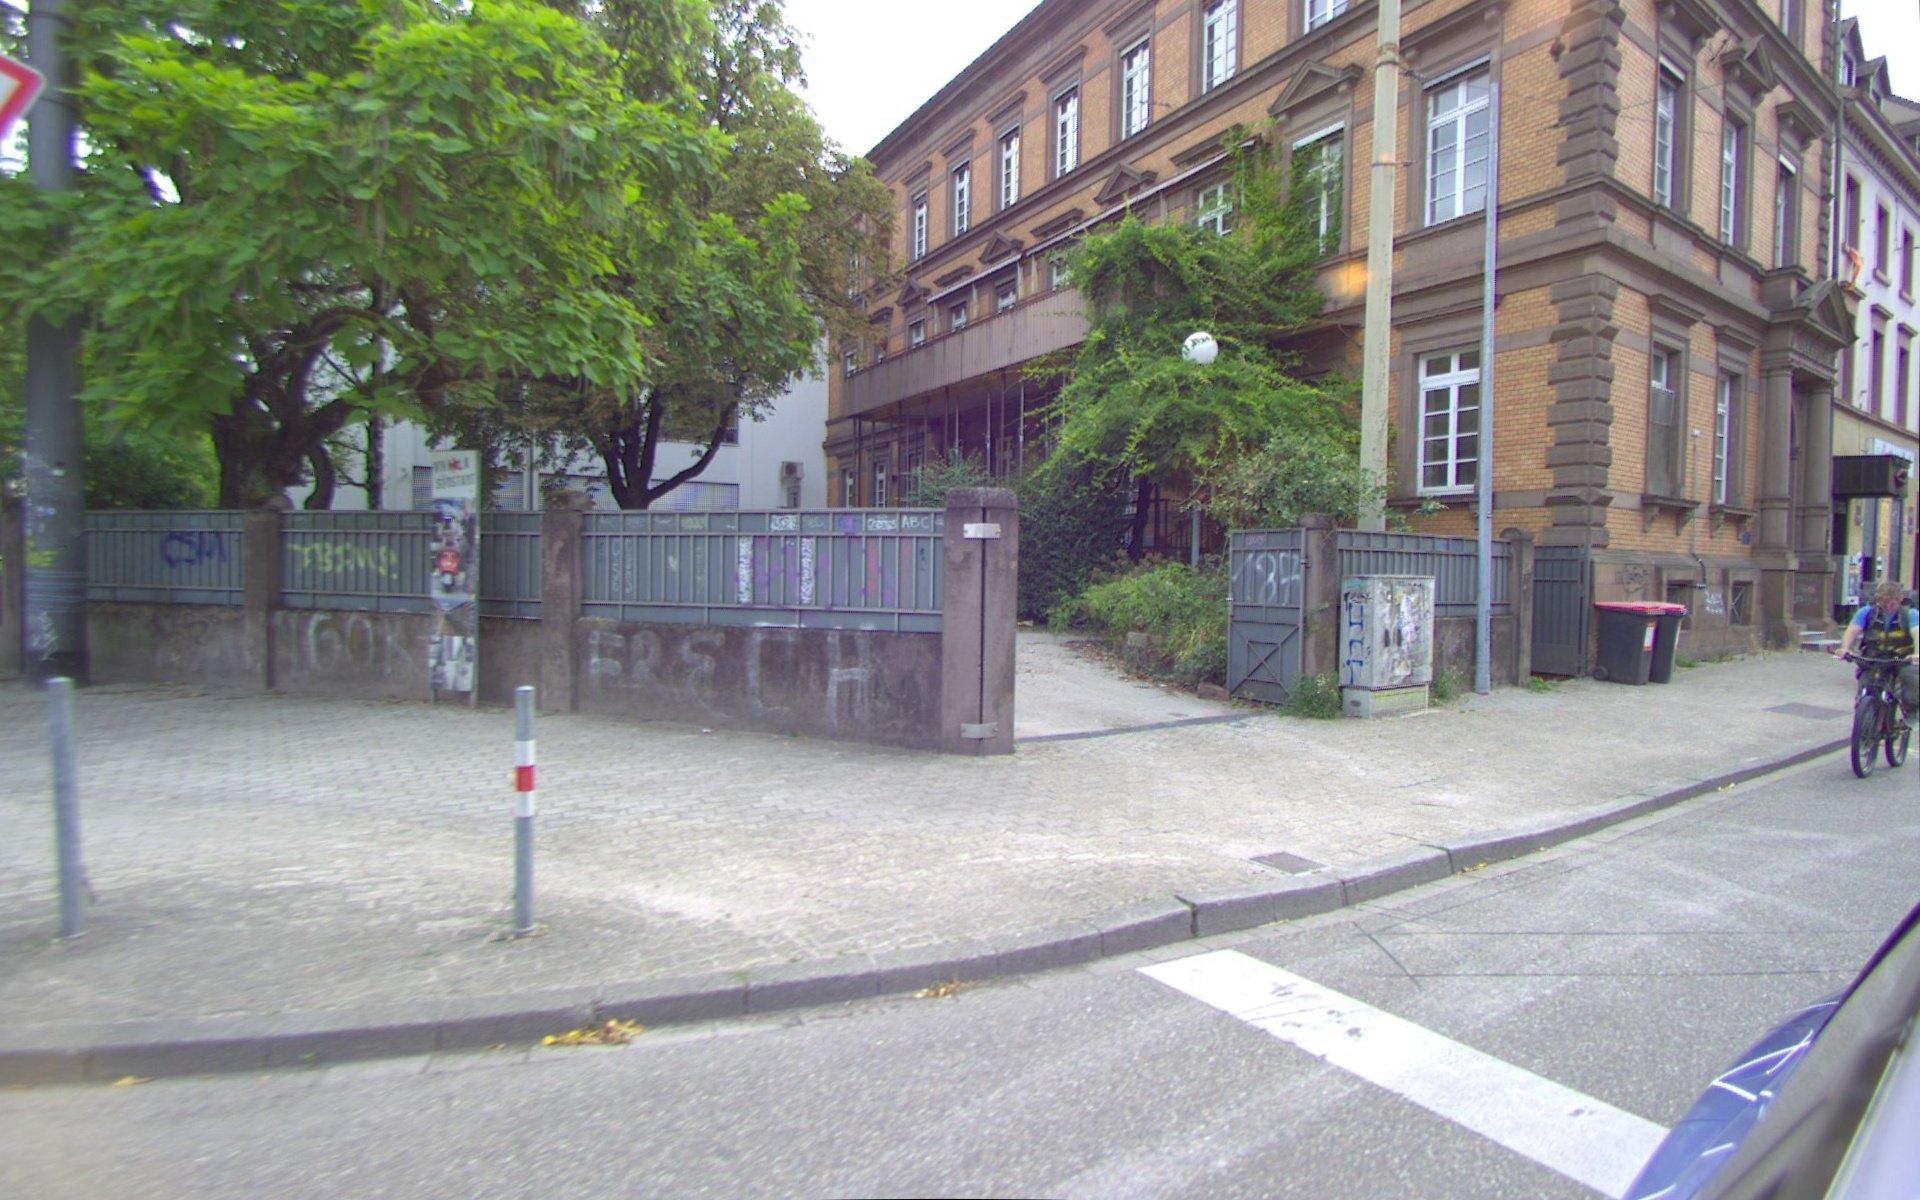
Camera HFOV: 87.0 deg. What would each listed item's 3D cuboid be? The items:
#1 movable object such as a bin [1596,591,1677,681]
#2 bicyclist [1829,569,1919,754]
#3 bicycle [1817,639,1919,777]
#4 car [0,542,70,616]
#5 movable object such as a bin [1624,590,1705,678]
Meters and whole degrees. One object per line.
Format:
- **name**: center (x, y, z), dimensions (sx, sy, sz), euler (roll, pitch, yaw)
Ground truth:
- **movable object such as a bin**: center (9.038, 0.462, 13.532), dimensions (0.665, 1.095, 0.653), euler (-1, 6, -39)
- **bicyclist**: center (8.162, 0.509, 8.815), dimensions (0.901, 1.526, 0.716), euler (0, -1, -36)
- **bicycle**: center (8.239, 0.894, 8.871), dimensions (1.766, 1.031, 0.715), euler (0, 1, -36)
- **car**: center (-22.120, -0.526, 23.200), dimensions (1.702, 1.580, 4.427), euler (0, 2, -29)
- **movable object such as a bin**: center (9.666, 0.446, 13.886), dimensions (0.688, 1.095, 0.665), euler (-1, 6, -38)
